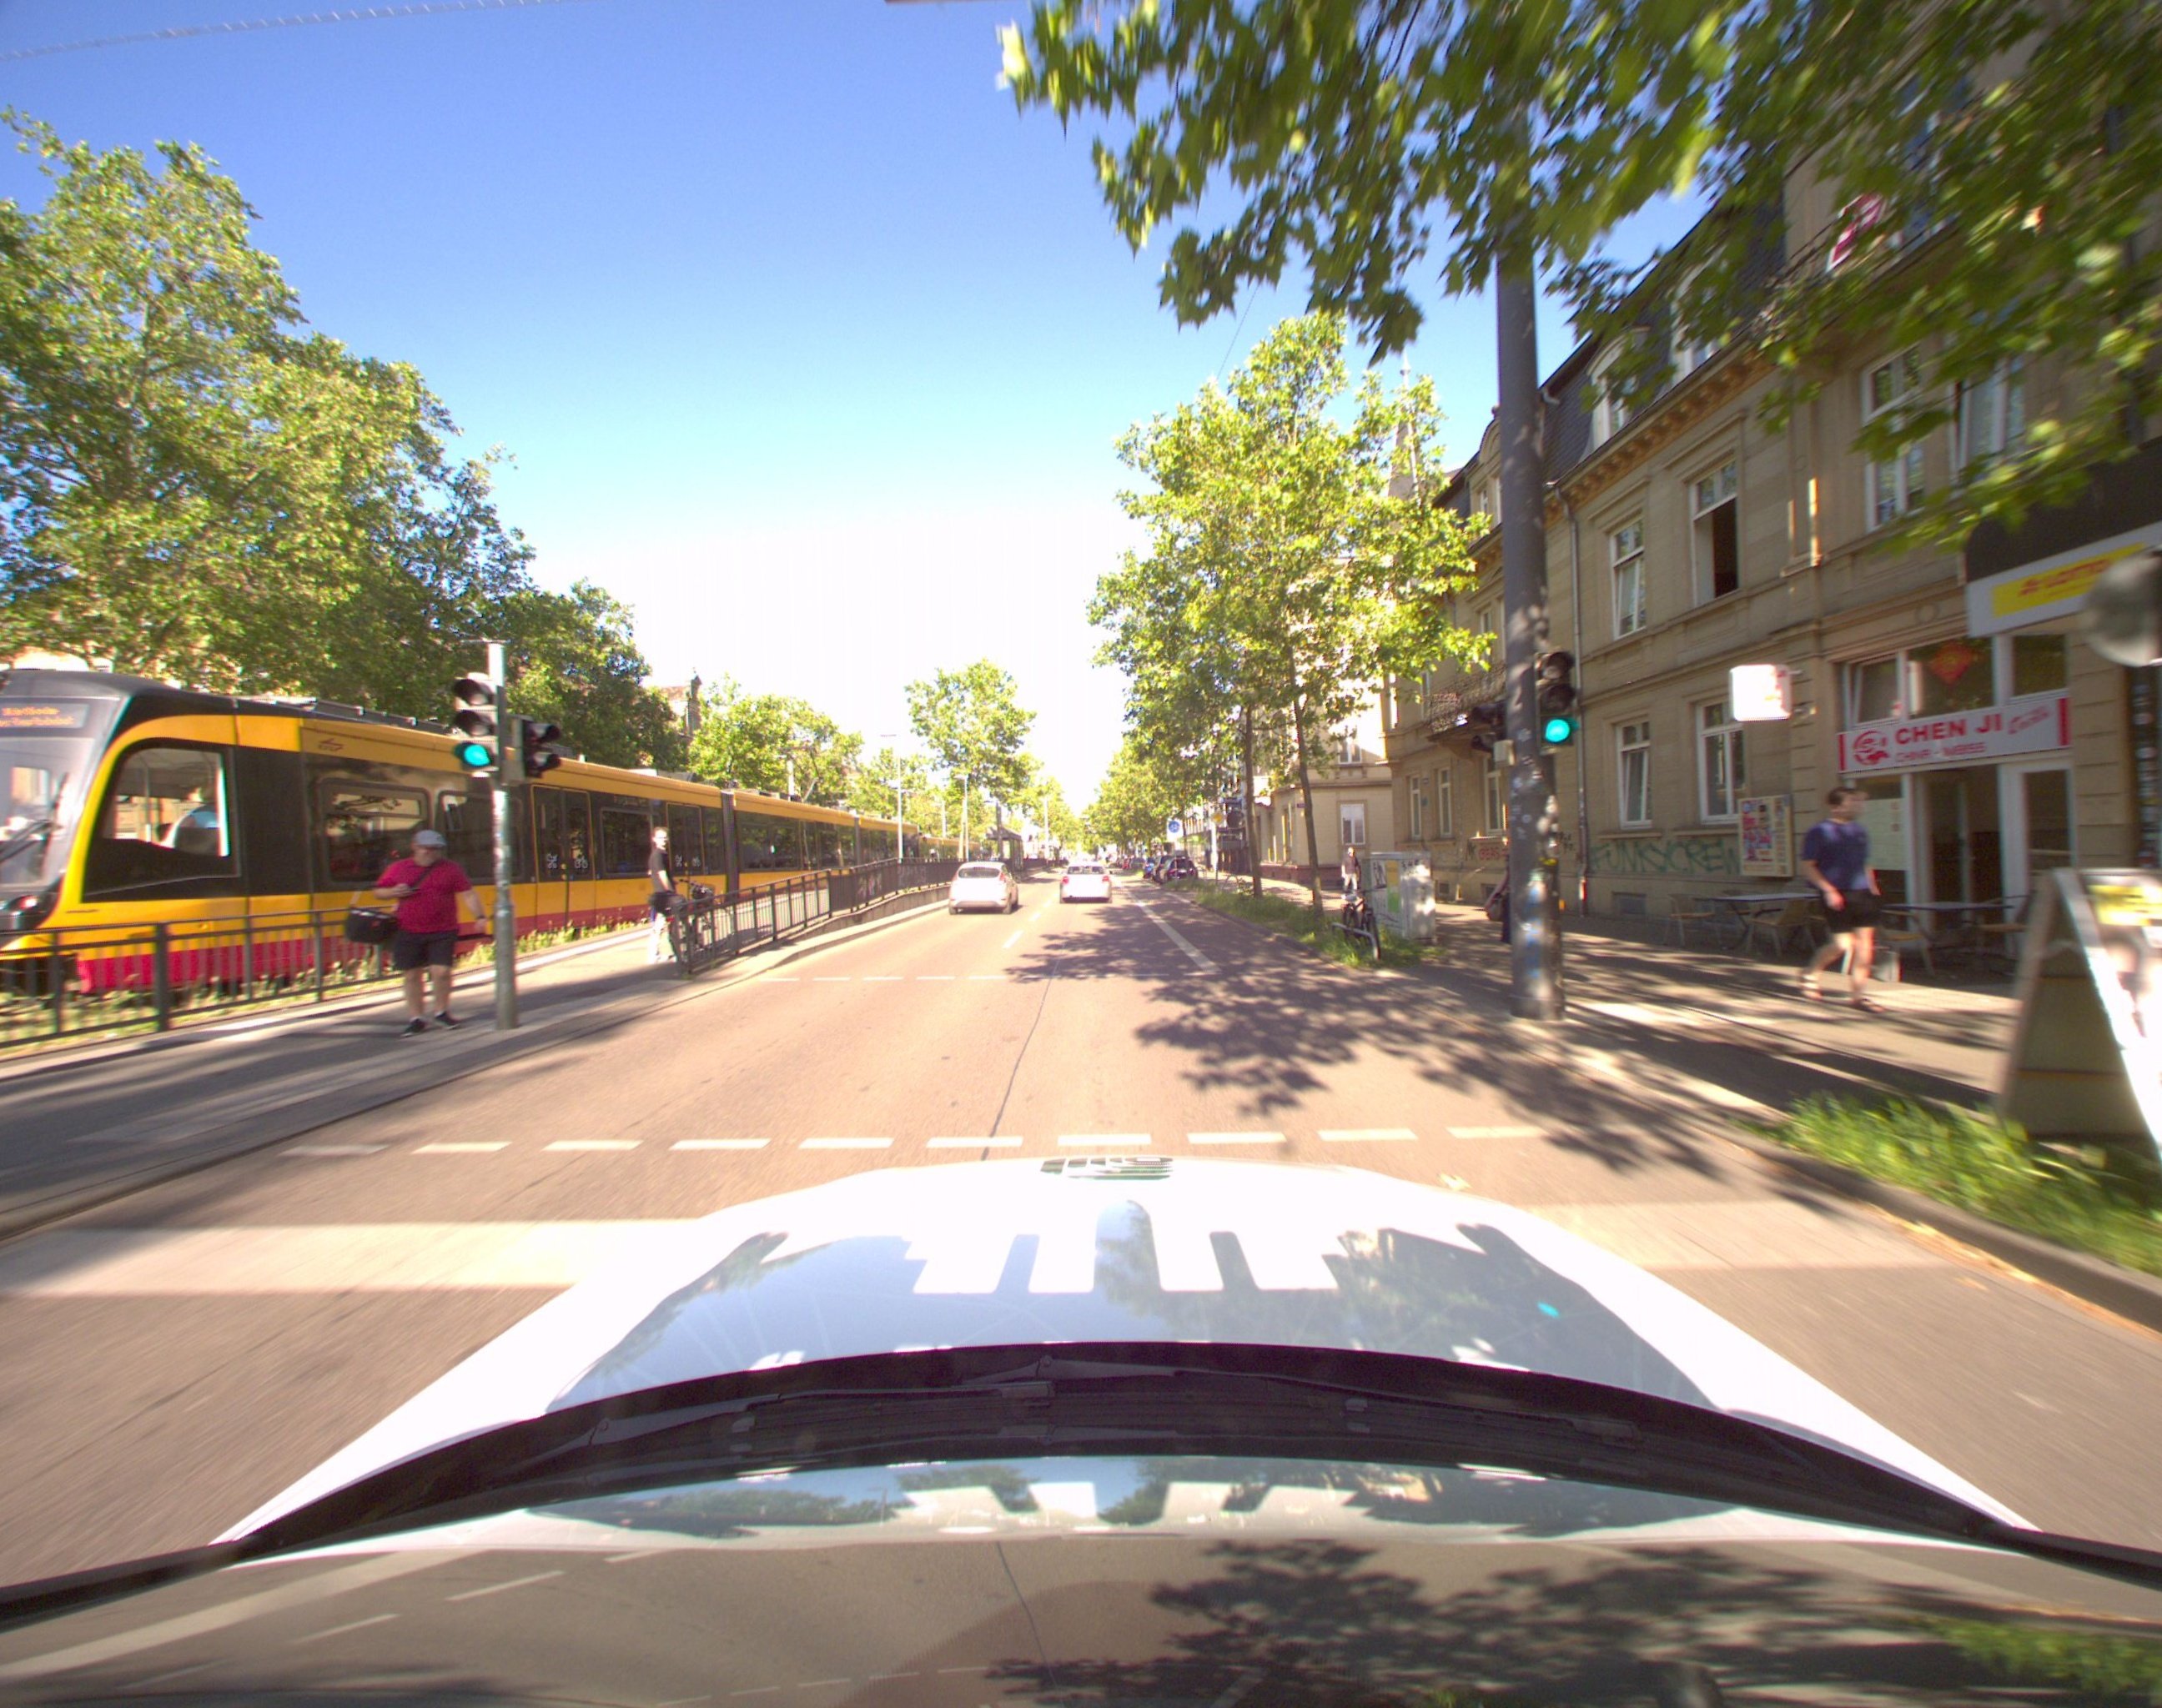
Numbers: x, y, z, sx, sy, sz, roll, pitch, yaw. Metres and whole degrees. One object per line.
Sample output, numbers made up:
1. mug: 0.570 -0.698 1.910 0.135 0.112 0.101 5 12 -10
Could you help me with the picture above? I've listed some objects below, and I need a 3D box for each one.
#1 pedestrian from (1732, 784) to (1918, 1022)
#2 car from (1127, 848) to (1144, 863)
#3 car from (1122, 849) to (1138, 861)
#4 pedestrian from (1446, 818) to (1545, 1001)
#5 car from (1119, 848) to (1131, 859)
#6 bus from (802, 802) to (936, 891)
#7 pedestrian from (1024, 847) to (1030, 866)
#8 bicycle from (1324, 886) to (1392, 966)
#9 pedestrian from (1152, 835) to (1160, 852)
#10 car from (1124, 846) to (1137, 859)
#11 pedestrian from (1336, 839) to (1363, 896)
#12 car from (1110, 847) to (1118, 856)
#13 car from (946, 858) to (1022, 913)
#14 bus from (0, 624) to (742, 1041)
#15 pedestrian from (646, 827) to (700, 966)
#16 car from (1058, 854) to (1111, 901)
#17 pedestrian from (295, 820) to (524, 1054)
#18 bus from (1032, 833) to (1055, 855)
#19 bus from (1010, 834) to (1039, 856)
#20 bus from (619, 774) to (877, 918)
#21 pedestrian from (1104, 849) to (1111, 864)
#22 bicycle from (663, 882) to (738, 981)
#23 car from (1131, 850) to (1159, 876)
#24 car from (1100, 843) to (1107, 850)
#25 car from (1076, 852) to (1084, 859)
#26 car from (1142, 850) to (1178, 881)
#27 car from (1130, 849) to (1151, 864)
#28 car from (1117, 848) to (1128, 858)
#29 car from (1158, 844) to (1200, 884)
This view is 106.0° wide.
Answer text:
1. pedestrian: 6.663 0.404 7.350 0.878 2.013 0.858 0 1 4
2. car: 6.092 0.119 90.928 1.663 1.551 4.002 0 1 1
3. car: 6.040 0.119 100.910 1.799 1.520 4.001 0 0 1
4. pedestrian: 4.229 0.528 8.374 0.638 1.771 0.870 0 1 7
5. car: 6.776 -0.066 126.026 1.705 1.563 4.002 0 1 1
6. bus: -9.439 -0.330 38.059 2.859 3.444 11.614 -2 0 1
7. pedestrian: -5.737 0.287 86.338 0.636 1.954 0.814 0 1 1
8. bicycle: 4.017 1.015 11.939 0.426 0.970 1.751 0 1 1
9. pedestrian: 9.556 -1.328 103.806 0.960 2.013 0.939 -2 0 1
10. car: 7.028 -0.198 116.822 1.718 1.880 4.001 0 1 1
11. pedestrian: 8.909 0.433 27.057 0.562 1.826 0.958 0 1 -2
12. car: 7.605 -0.527 188.074 1.986 2.013 4.002 0 1 1
13. car: -2.716 0.846 23.509 1.641 1.362 3.761 0 1 1
14. bus: -9.937 -0.164 13.355 2.859 3.444 13.220 -2 0 1
15. pedestrian: -5.796 0.589 11.583 0.450 1.902 0.583 -2 0 -7
16. car: 0.121 0.773 28.672 1.756 1.432 4.000 0 1 0
17. pedestrian: -5.988 0.689 7.364 1.069 1.916 1.126 -2 0 -1
18. bus: -6.670 -1.922 148.376 2.740 3.625 18.854 -1 1 1
19. bus: -10.096 -1.711 148.775 2.859 3.628 24.612 -1 1 1
20. bus: -9.688 -0.221 26.055 2.859 3.444 12.218 -2 0 1
21. pedestrian: 3.662 0.339 111.979 0.833 2.013 0.650 0 1 8
22. bicycle: -5.362 1.046 11.569 0.327 1.214 1.826 -2 0 -5
23. car: 4.641 0.634 59.527 1.686 1.658 4.040 -2 2 1
24. car: 6.886 -2.250 250.260 1.986 2.013 4.002 -2 2 1
25. car: -0.242 0.369 226.210 1.986 2.013 4.002 0 1 1
26. car: 4.846 0.663 50.299 1.792 1.700 4.738 -2 1 1
27. car: 6.206 0.242 85.608 1.986 1.509 4.599 0 0 1
28. car: 6.818 -0.219 133.605 1.694 1.534 3.718 0 1 1
29. car: 5.255 0.472 44.075 1.748 1.964 4.738 -1 1 1
